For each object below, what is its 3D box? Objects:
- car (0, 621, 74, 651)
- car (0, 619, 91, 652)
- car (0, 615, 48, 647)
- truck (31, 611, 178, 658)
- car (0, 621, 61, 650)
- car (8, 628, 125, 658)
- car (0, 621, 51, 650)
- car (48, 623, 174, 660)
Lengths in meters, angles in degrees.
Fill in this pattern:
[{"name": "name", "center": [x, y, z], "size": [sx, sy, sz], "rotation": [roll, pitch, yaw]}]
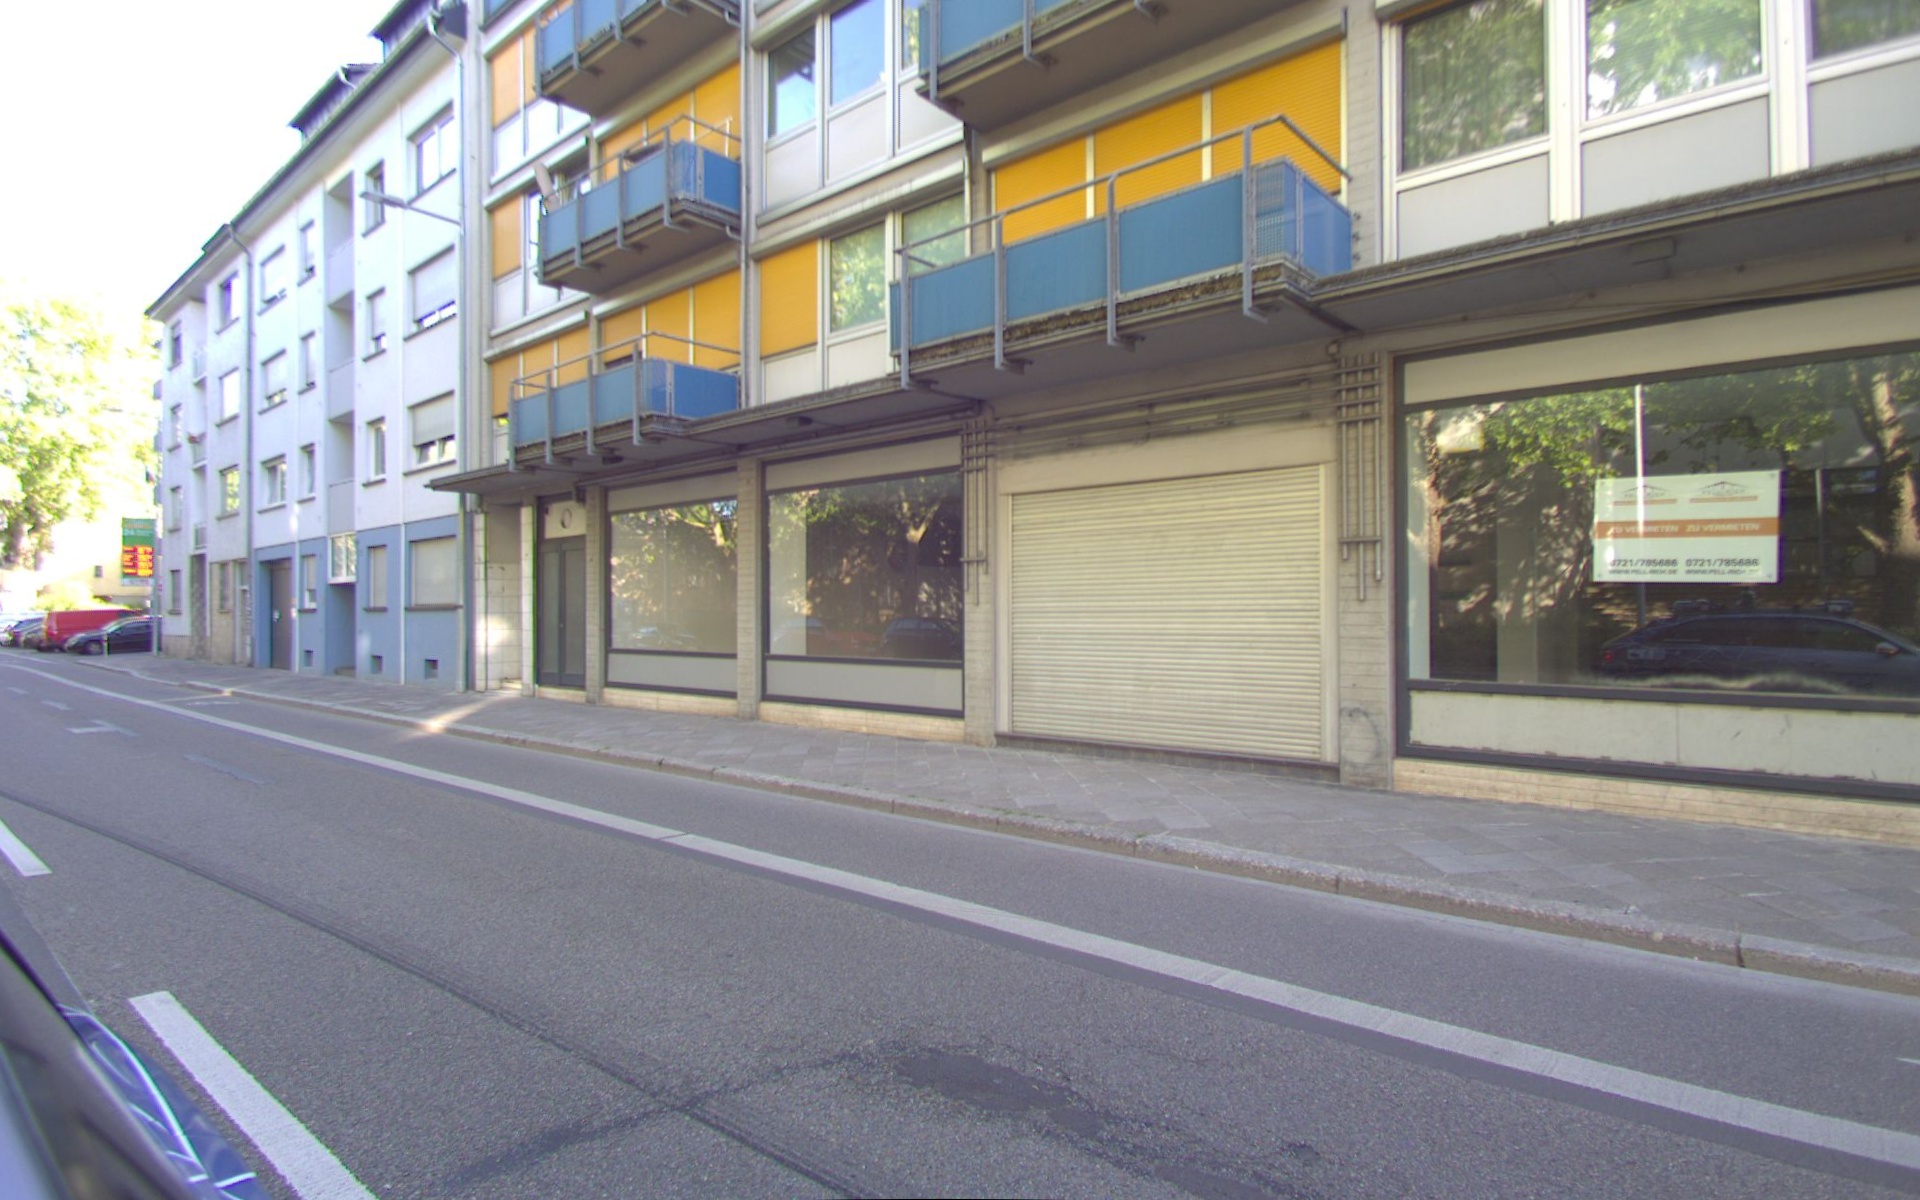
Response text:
[{"name": "car", "center": [-52.880, 2.036, 57.466], "size": [1.656, 1.599, 3.615], "rotation": [-1, 0, 35]}, {"name": "car", "center": [-50.820, 1.945, 55.963], "size": [1.699, 1.640, 3.952], "rotation": [-1, 0, 35]}, {"name": "car", "center": [-59.757, 1.967, 63.829], "size": [1.693, 1.953, 3.224], "rotation": [-1, 0, 43]}, {"name": "truck", "center": [-40.347, 1.582, 47.831], "size": [1.998, 2.036, 5.024], "rotation": [-1, 0, 40]}, {"name": "car", "center": [-55.065, 2.081, 58.995], "size": [1.715, 1.594, 3.660], "rotation": [-1, 0, 35]}, {"name": "car", "center": [-43.050, 2.036, 48.827], "size": [1.904, 1.282, 3.983], "rotation": [-1, 0, 39]}, {"name": "car", "center": [-56.885, 2.121, 60.388], "size": [1.740, 1.600, 3.685], "rotation": [-1, 0, 35]}, {"name": "car", "center": [-36.781, 1.775, 43.903], "size": [1.780, 1.404, 3.947], "rotation": [-1, 0, 39]}]
